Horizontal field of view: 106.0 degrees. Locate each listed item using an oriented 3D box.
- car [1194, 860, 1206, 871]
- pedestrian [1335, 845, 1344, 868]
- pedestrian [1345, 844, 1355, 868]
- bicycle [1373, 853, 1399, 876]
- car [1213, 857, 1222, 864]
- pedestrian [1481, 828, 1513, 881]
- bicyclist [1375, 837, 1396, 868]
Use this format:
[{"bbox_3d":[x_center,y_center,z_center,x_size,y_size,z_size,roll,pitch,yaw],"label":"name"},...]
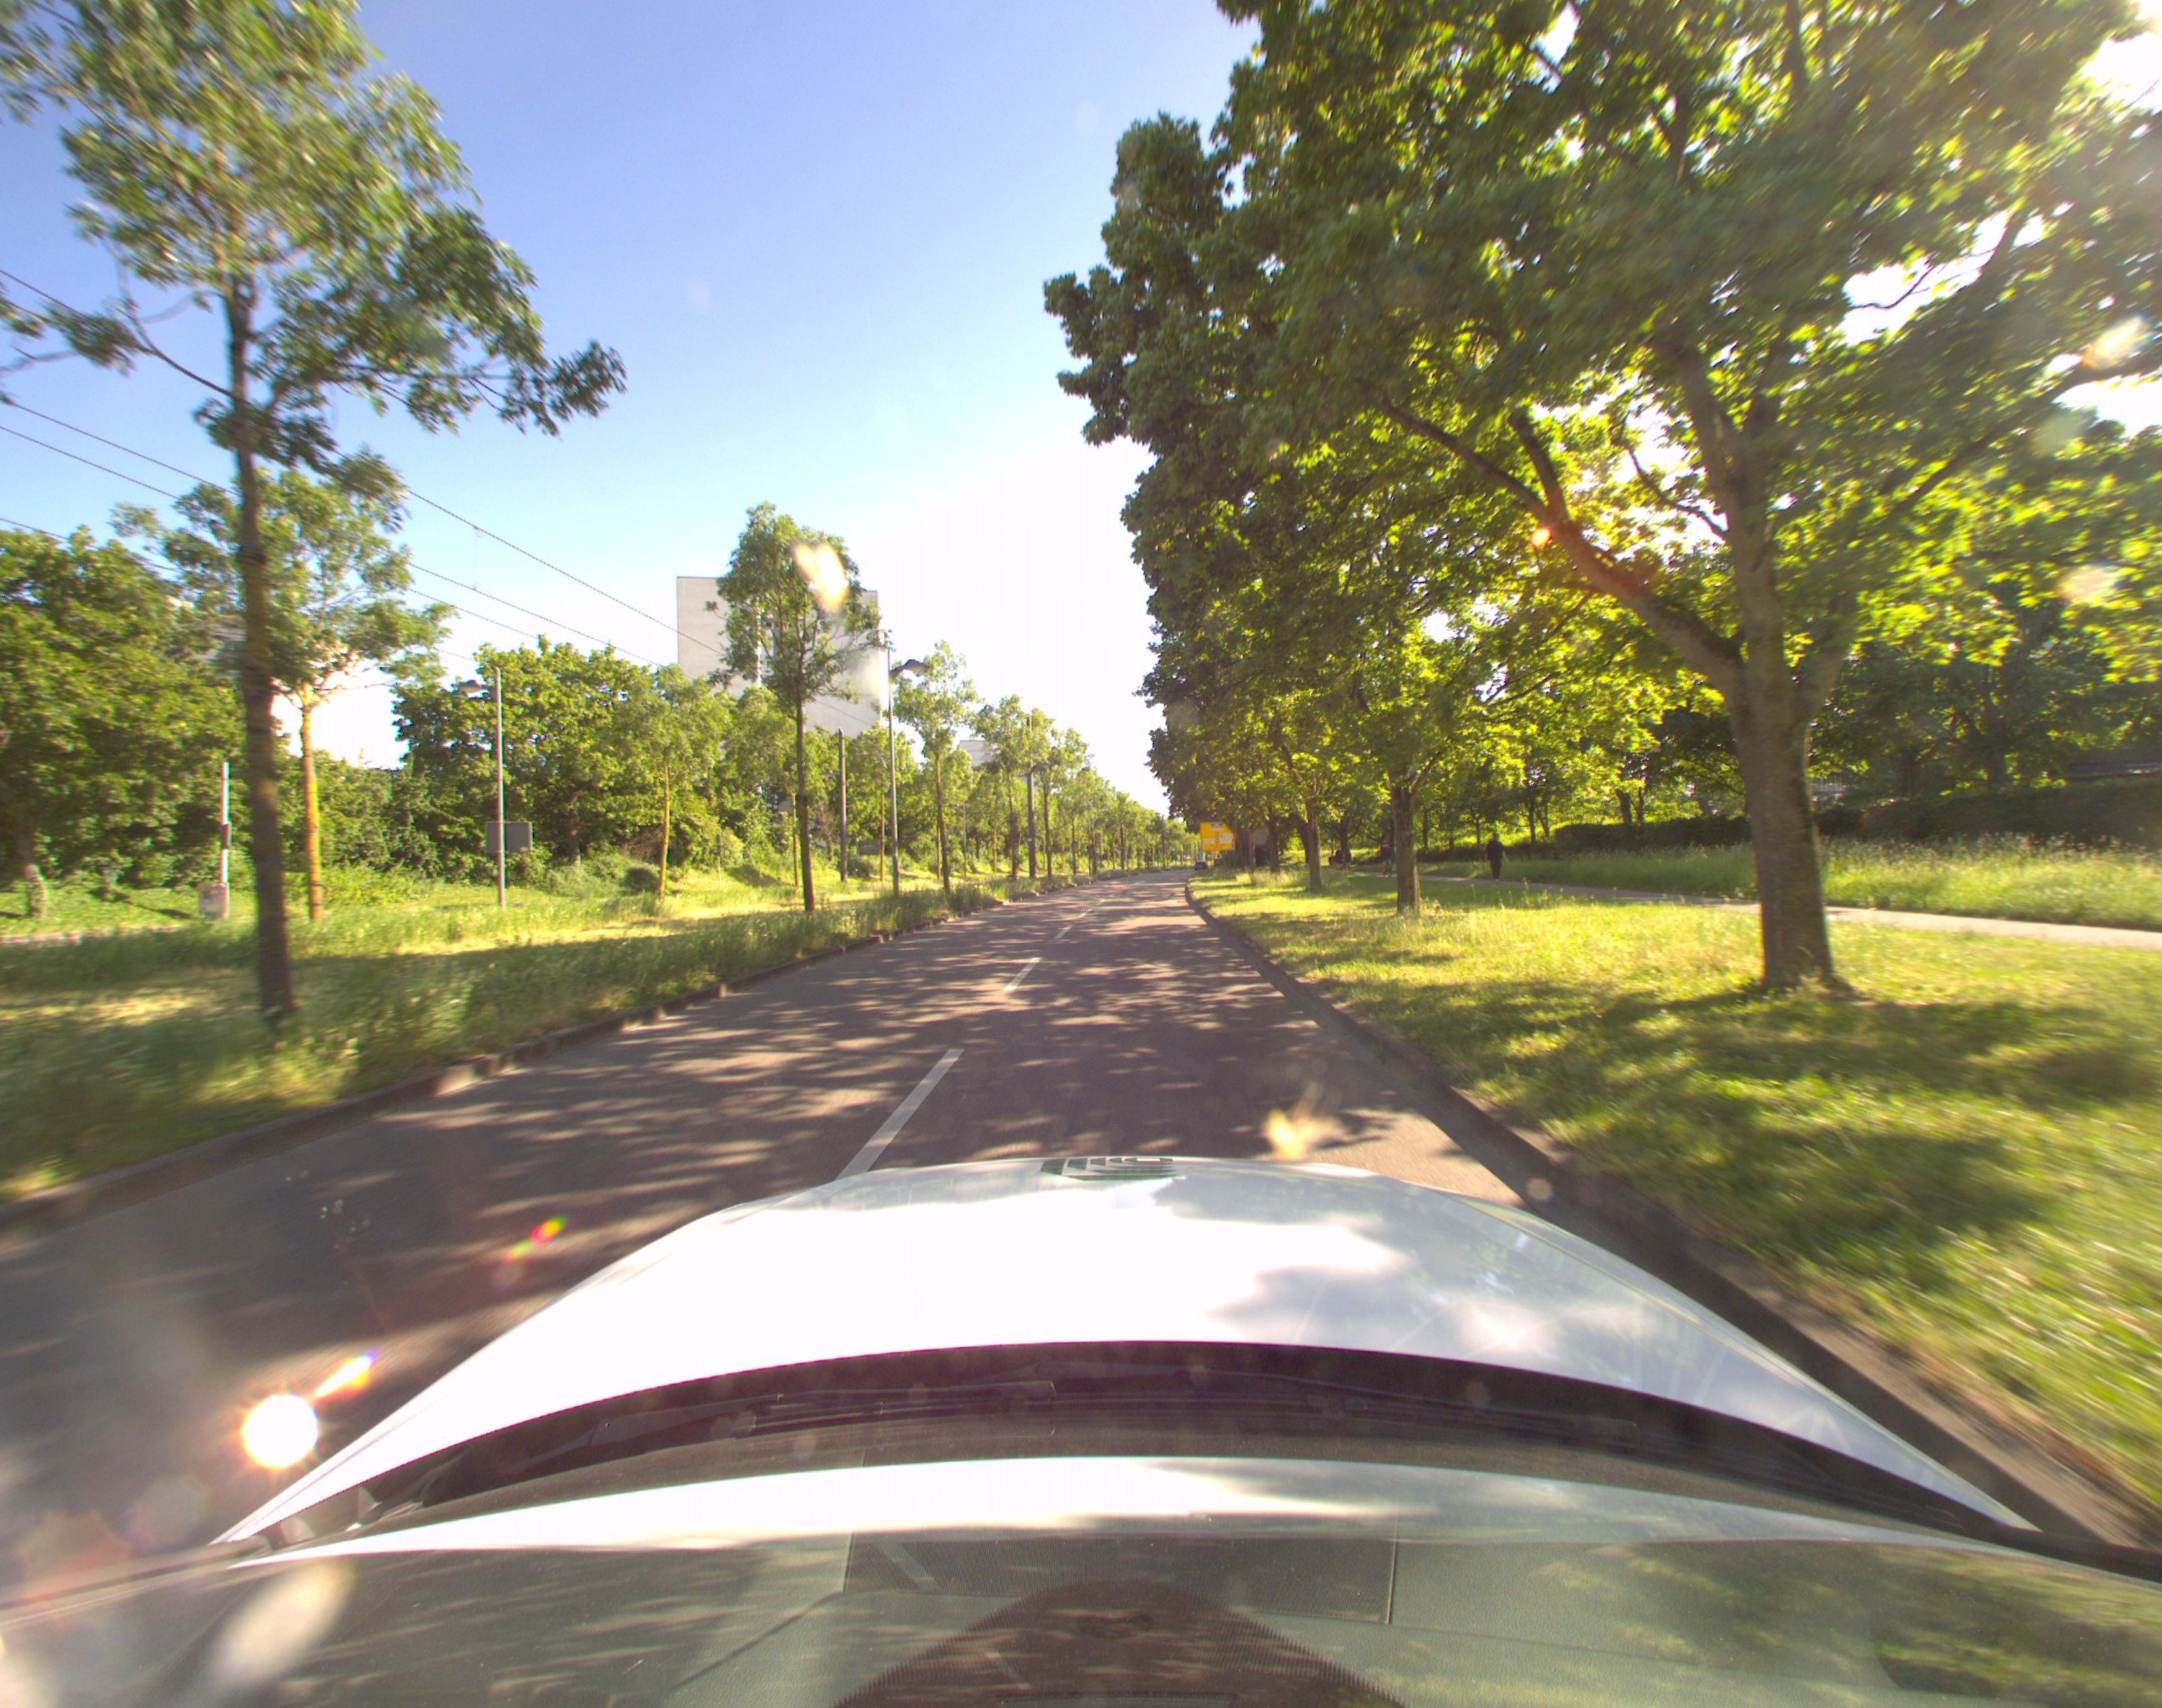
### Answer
[{"bbox_3d":[17.728,1.728,121.199,1.624,1.498,4.247,-1,-1,11],"label":"car"},{"bbox_3d":[18.654,0.186,58.752,0.542,1.622,0.848,-3,-1,19],"label":"pedestrian"},{"bbox_3d":[19.299,0.119,58.437,0.631,1.692,0.848,-3,-1,19],"label":"pedestrian"},{"bbox_3d":[14.797,0.483,39.491,0.786,1.047,2.156,-3,-1,31],"label":"bicycle"},{"bbox_3d":[28.903,1.382,172.450,1.623,1.498,4.247,-1,-1,11],"label":"car"},{"bbox_3d":[14.542,0.013,28.477,0.712,1.803,0.795,-2,-1,6],"label":"pedestrian"},{"bbox_3d":[14.765,-0.055,39.486,0.782,1.450,0.850,-3,-1,31],"label":"bicyclist"}]
